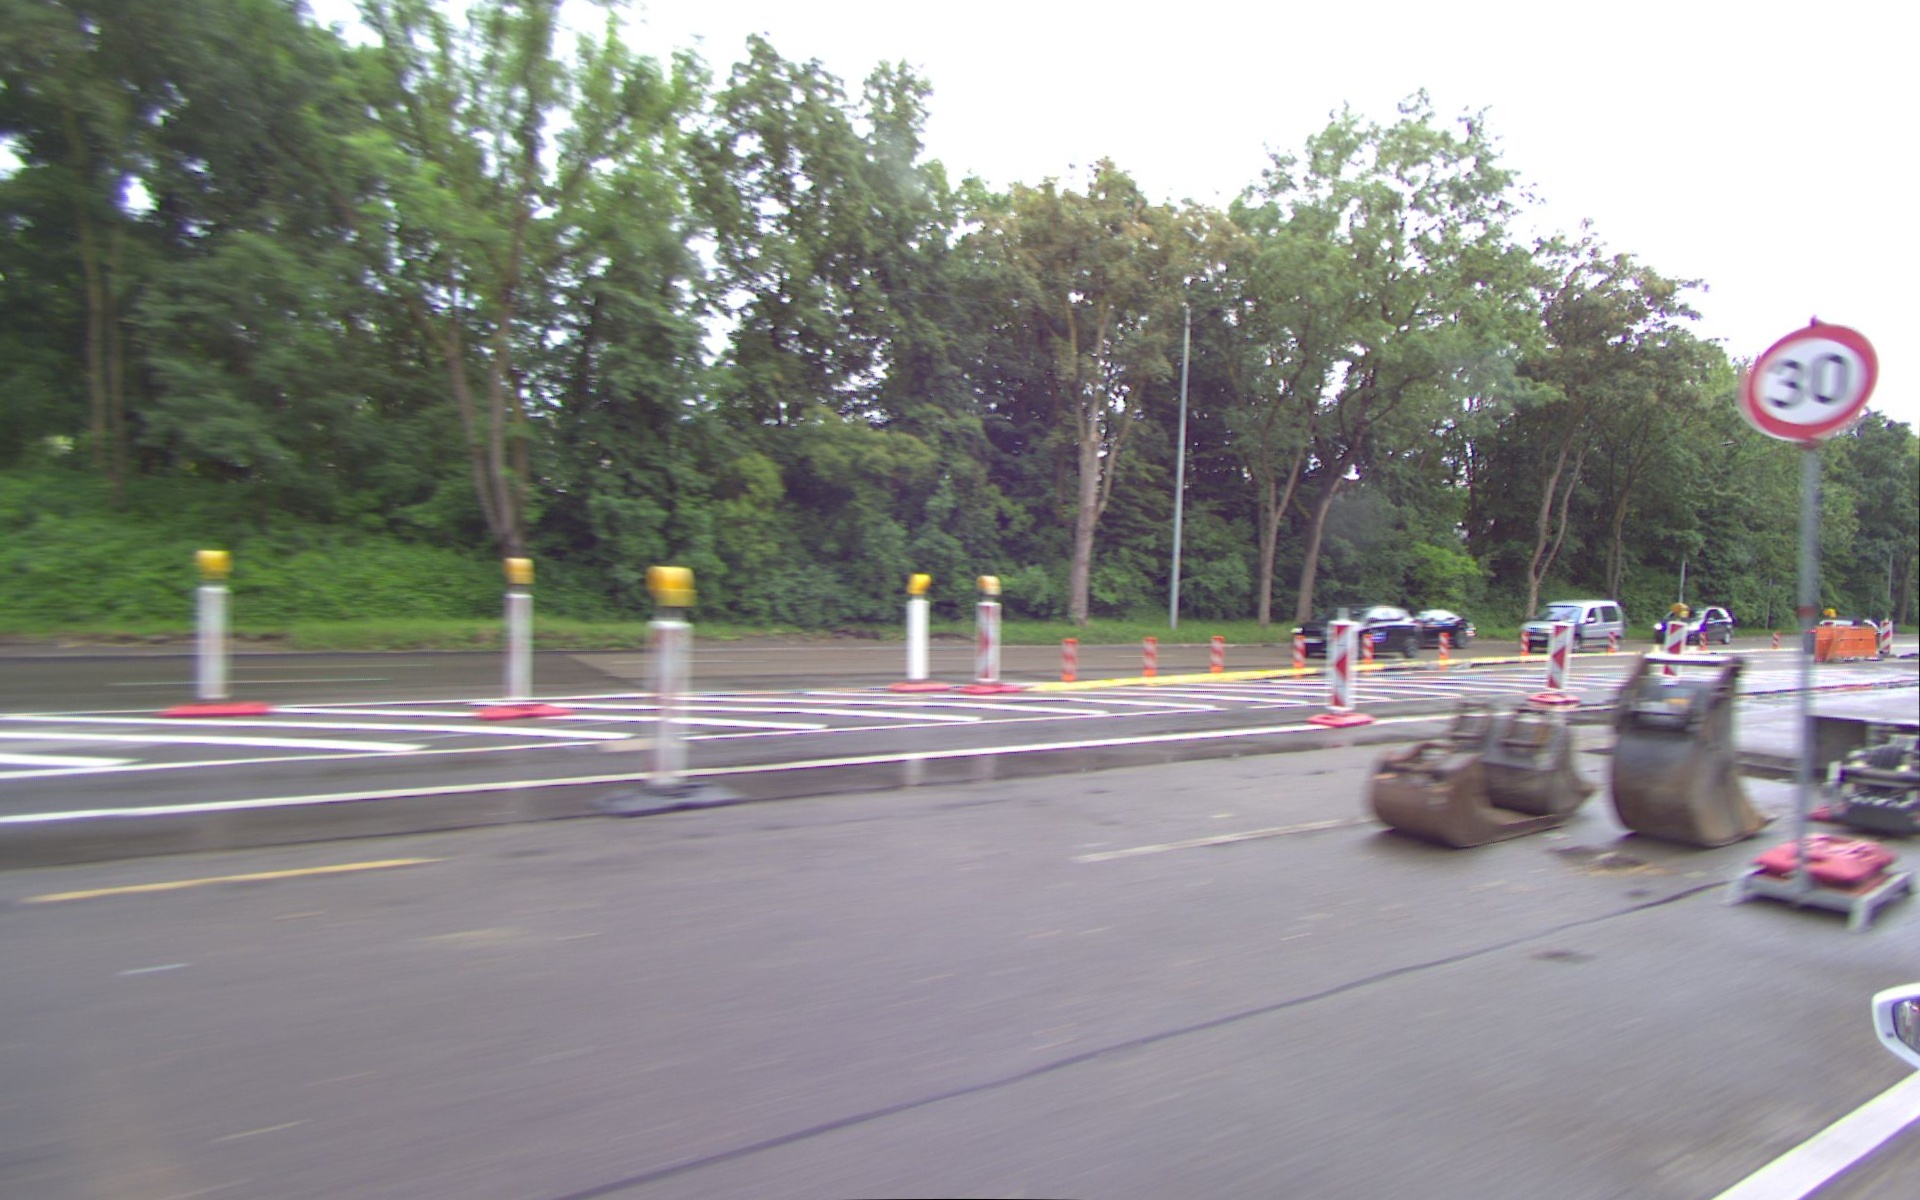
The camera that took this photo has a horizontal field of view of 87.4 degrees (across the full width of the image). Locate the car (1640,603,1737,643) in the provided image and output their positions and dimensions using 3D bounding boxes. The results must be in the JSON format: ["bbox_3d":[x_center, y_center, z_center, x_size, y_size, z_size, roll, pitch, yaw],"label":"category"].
[{"bbox_3d":[33.029,1.037,45.515,4.599,1.687,1.917,1,0,-31],"label":"car"}]

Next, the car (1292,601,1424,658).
[{"bbox_3d":[10.691,0.772,26.880,3.786,1.426,1.418,1,0,-34],"label":"car"}]

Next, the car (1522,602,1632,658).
[{"bbox_3d":[20.177,0.957,32.821,4.085,1.718,1.419,1,0,-33],"label":"car"}]

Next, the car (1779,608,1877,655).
[{"bbox_3d":[33.228,1.154,38.435,3.958,1.512,1.850,-2,4,-34],"label":"car"}]
